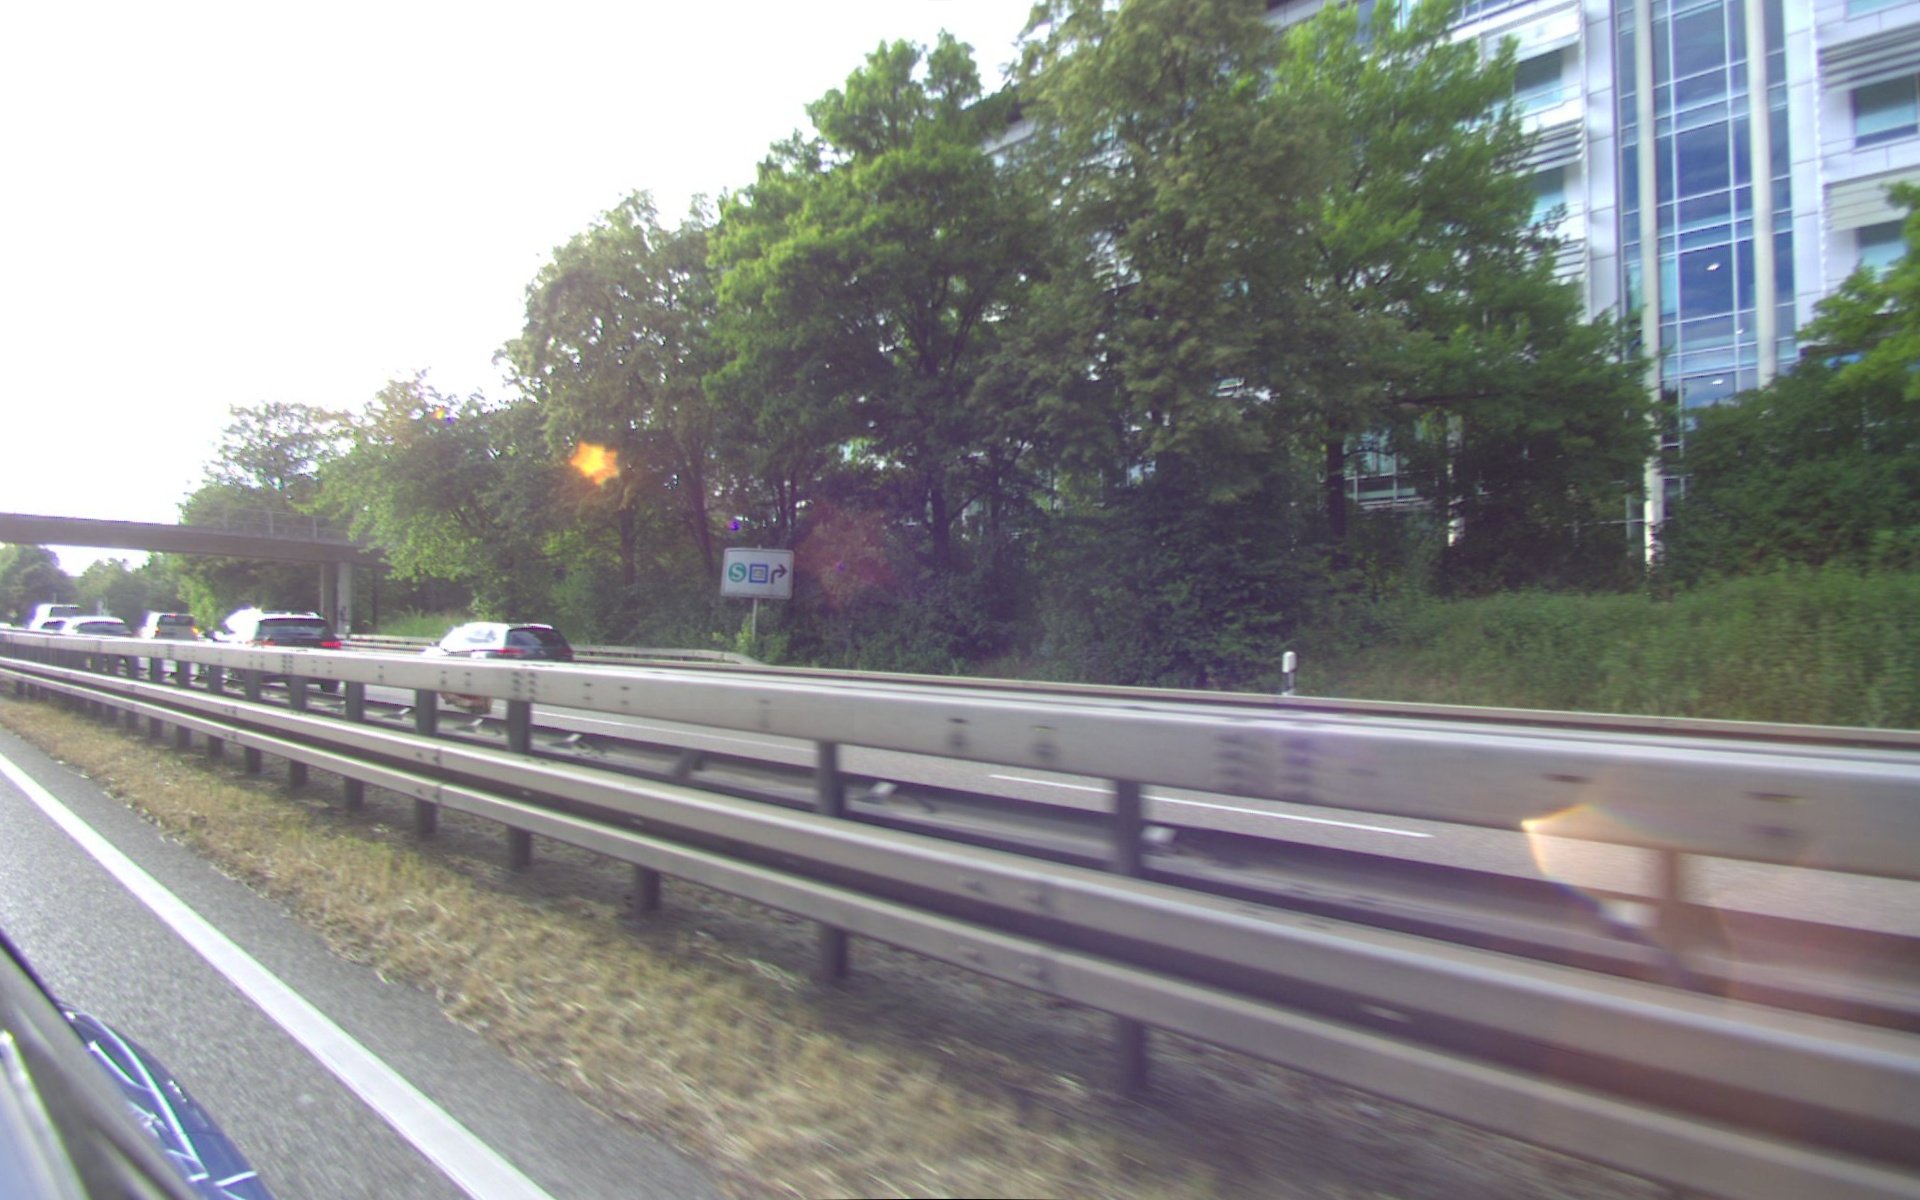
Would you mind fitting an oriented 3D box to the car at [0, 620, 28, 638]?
[{"bbox_3d":[-87.871,2.687,93.669,4.397,1.548,1.815,-1,-7,43],"label":"car"}]

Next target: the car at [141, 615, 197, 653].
[{"bbox_3d":[-40.869,1.725,52.243,1.846,1.869,4.626,-1,-1,-44],"label":"car"}]

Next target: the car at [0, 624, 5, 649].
[{"bbox_3d":[-62.474,2.325,64.732,3.638,1.540,1.589,-1,-2,40],"label":"car"}]

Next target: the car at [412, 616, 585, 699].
[{"bbox_3d":[-9.919,1.152,21.620,4.309,1.601,1.724,-1,-2,41],"label":"car"}]

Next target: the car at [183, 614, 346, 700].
[{"bbox_3d":[-14.388,1.104,20.847,4.315,1.596,1.801,-1,-2,42],"label":"car"}]

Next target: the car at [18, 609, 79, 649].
[{"bbox_3d":[-60.504,1.893,67.118,6.938,2.556,2.226,-1,-2,42],"label":"car"}]

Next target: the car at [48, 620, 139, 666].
[{"bbox_3d":[-27.499,1.332,32.080,3.830,1.362,1.658,-1,-2,41],"label":"car"}]

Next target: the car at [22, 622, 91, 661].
[{"bbox_3d":[-36.636,1.668,41.013,3.644,1.497,1.664,-1,-2,41],"label":"car"}]
